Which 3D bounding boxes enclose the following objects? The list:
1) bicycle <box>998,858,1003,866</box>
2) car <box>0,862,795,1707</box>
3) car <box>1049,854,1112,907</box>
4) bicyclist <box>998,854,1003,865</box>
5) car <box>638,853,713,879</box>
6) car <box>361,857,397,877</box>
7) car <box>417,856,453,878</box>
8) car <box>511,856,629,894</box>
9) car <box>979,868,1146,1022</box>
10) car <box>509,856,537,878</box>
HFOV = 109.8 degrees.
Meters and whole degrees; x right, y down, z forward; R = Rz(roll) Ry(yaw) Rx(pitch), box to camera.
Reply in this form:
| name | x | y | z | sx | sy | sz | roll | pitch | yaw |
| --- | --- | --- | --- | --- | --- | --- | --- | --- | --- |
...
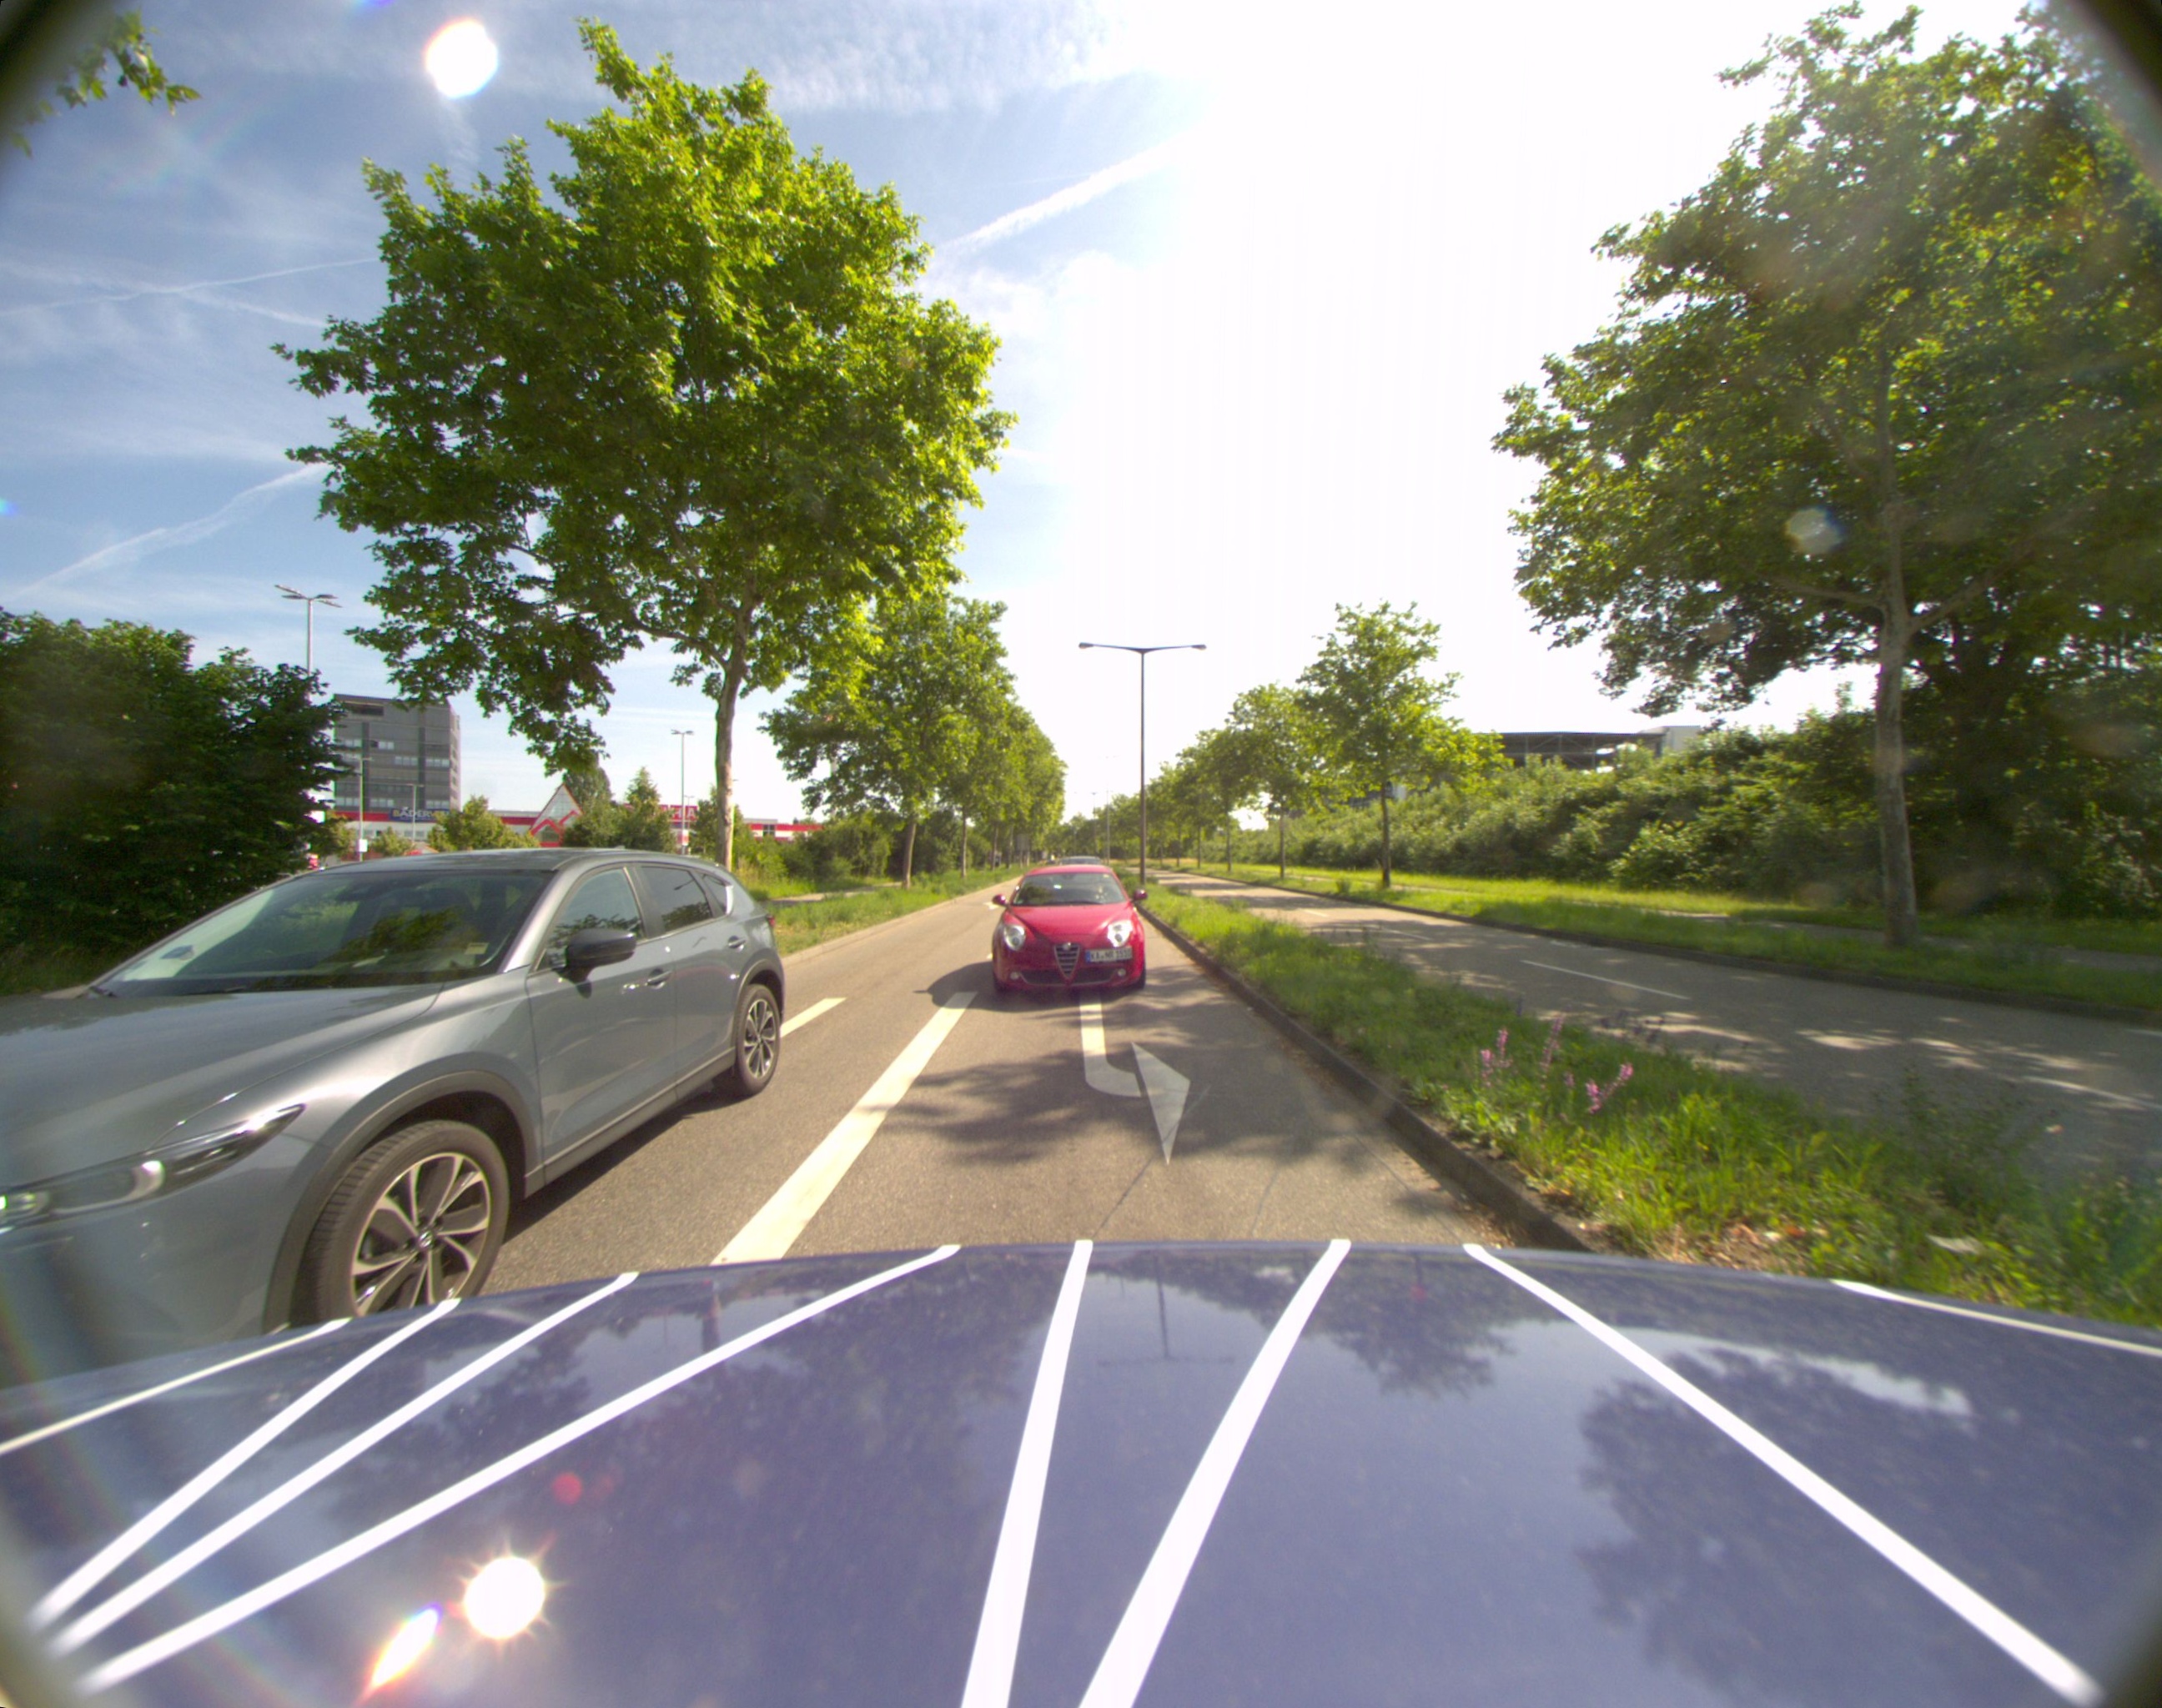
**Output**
| name | x | y | z | sx | sy | sz | roll | pitch | yaw |
| --- | --- | --- | --- | --- | --- | --- | --- | --- | --- |
| bicycle | -12.513 | 1.221 | 118.170 | 0.687 | 1.230 | 1.934 | 0 | 0 | 0 |
| car | -3.035 | 0.921 | 3.427 | 1.770 | 1.649 | 4.495 | -2 | 0 | -1 |
| car | 0.001 | 0.797 | 24.898 | 1.874 | 1.536 | 4.081 | -1 | 0 | 0 |
| bicyclist | -12.512 | 0.870 | 118.184 | 0.687 | 1.622 | 1.002 | 0 | 1 | 0 |
| car | -25.150 | 0.698 | 47.162 | 3.870 | 1.576 | 1.844 | 0 | 1 | -38 |
| car | -58.185 | 1.020 | 63.046 | 1.693 | 1.565 | 3.989 | 0 | 0 | -36 |
| car | -47.887 | 0.940 | 56.355 | 1.693 | 1.565 | 3.989 | 0 | 0 | -36 |
| car | -22.262 | 0.877 | 33.229 | 3.861 | 1.576 | 1.848 | 0 | 0 | -7 |
| car | -0.184 | 0.965 | 9.705 | 1.658 | 1.430 | 3.908 | -2 | 0 | 0 |
| car | -43.382 | 0.976 | 59.125 | 1.693 | 1.565 | 3.989 | 0 | 0 | -36 |
